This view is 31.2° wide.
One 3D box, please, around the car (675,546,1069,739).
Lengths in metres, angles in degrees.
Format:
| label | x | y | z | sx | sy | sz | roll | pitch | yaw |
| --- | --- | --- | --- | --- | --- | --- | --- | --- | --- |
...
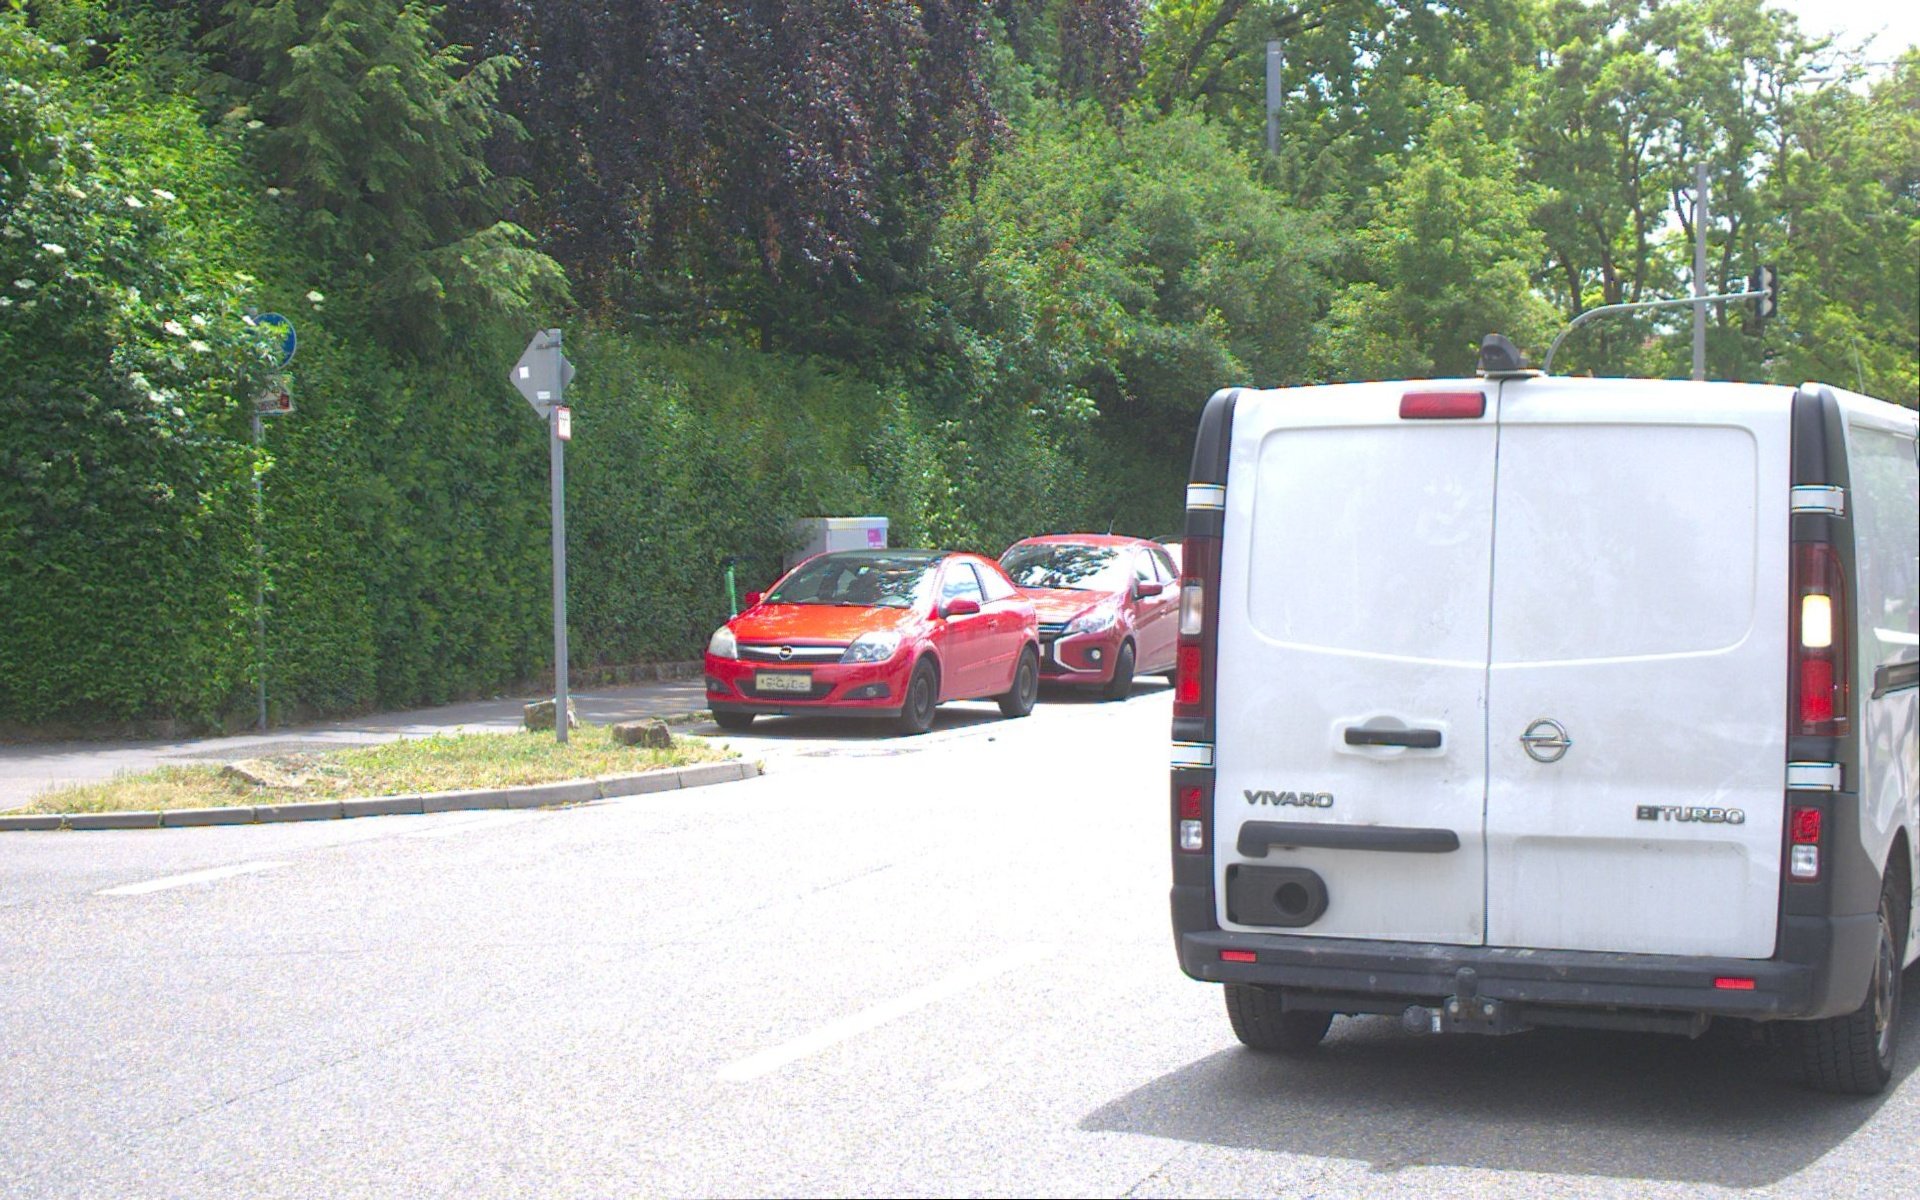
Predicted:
| label | x | y | z | sx | sy | sz | roll | pitch | yaw |
| --- | --- | --- | --- | --- | --- | --- | --- | --- | --- |
| car | -0.606 | 0.278 | 27.887 | 1.662 | 1.373 | 4.562 | 1 | 2 | 19 |

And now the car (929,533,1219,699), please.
| label | x | y | z | sx | sy | sz | roll | pitch | yaw |
| --- | --- | --- | --- | --- | --- | --- | --- | --- | --- |
| car | 1.160 | 0.102 | 32.882 | 1.651 | 1.445 | 4.101 | 1 | 2 | 19 |

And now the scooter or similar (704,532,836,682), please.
| label | x | y | z | sx | sy | sz | roll | pitch | yaw |
| --- | --- | --- | --- | --- | --- | --- | --- | --- | --- |
| scooter or similar | -1.845 | 0.049 | 33.555 | 0.671 | 1.407 | 1.647 | 1 | 2 | 21 |

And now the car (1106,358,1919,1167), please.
| label | x | y | z | sx | sy | sz | roll | pitch | yaw |
| --- | --- | --- | --- | --- | --- | --- | --- | --- | --- |
| car | 2.235 | 0.323 | 10.970 | 1.941 | 1.954 | 4.827 | 2 | 2 | 23 |

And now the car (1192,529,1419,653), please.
| label | x | y | z | sx | sy | sz | roll | pitch | yaw |
| --- | --- | --- | --- | --- | --- | --- | --- | --- | --- |
| car | 4.237 | -0.154 | 41.516 | 1.696 | 1.361 | 4.682 | 2 | 2 | 19 |

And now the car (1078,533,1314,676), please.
| label | x | y | z | sx | sy | sz | roll | pitch | yaw |
| --- | --- | --- | --- | --- | --- | --- | --- | --- | --- |
| car | 2.624 | 0.011 | 37.526 | 1.597 | 1.445 | 3.592 | 1 | 2 | 20 |
